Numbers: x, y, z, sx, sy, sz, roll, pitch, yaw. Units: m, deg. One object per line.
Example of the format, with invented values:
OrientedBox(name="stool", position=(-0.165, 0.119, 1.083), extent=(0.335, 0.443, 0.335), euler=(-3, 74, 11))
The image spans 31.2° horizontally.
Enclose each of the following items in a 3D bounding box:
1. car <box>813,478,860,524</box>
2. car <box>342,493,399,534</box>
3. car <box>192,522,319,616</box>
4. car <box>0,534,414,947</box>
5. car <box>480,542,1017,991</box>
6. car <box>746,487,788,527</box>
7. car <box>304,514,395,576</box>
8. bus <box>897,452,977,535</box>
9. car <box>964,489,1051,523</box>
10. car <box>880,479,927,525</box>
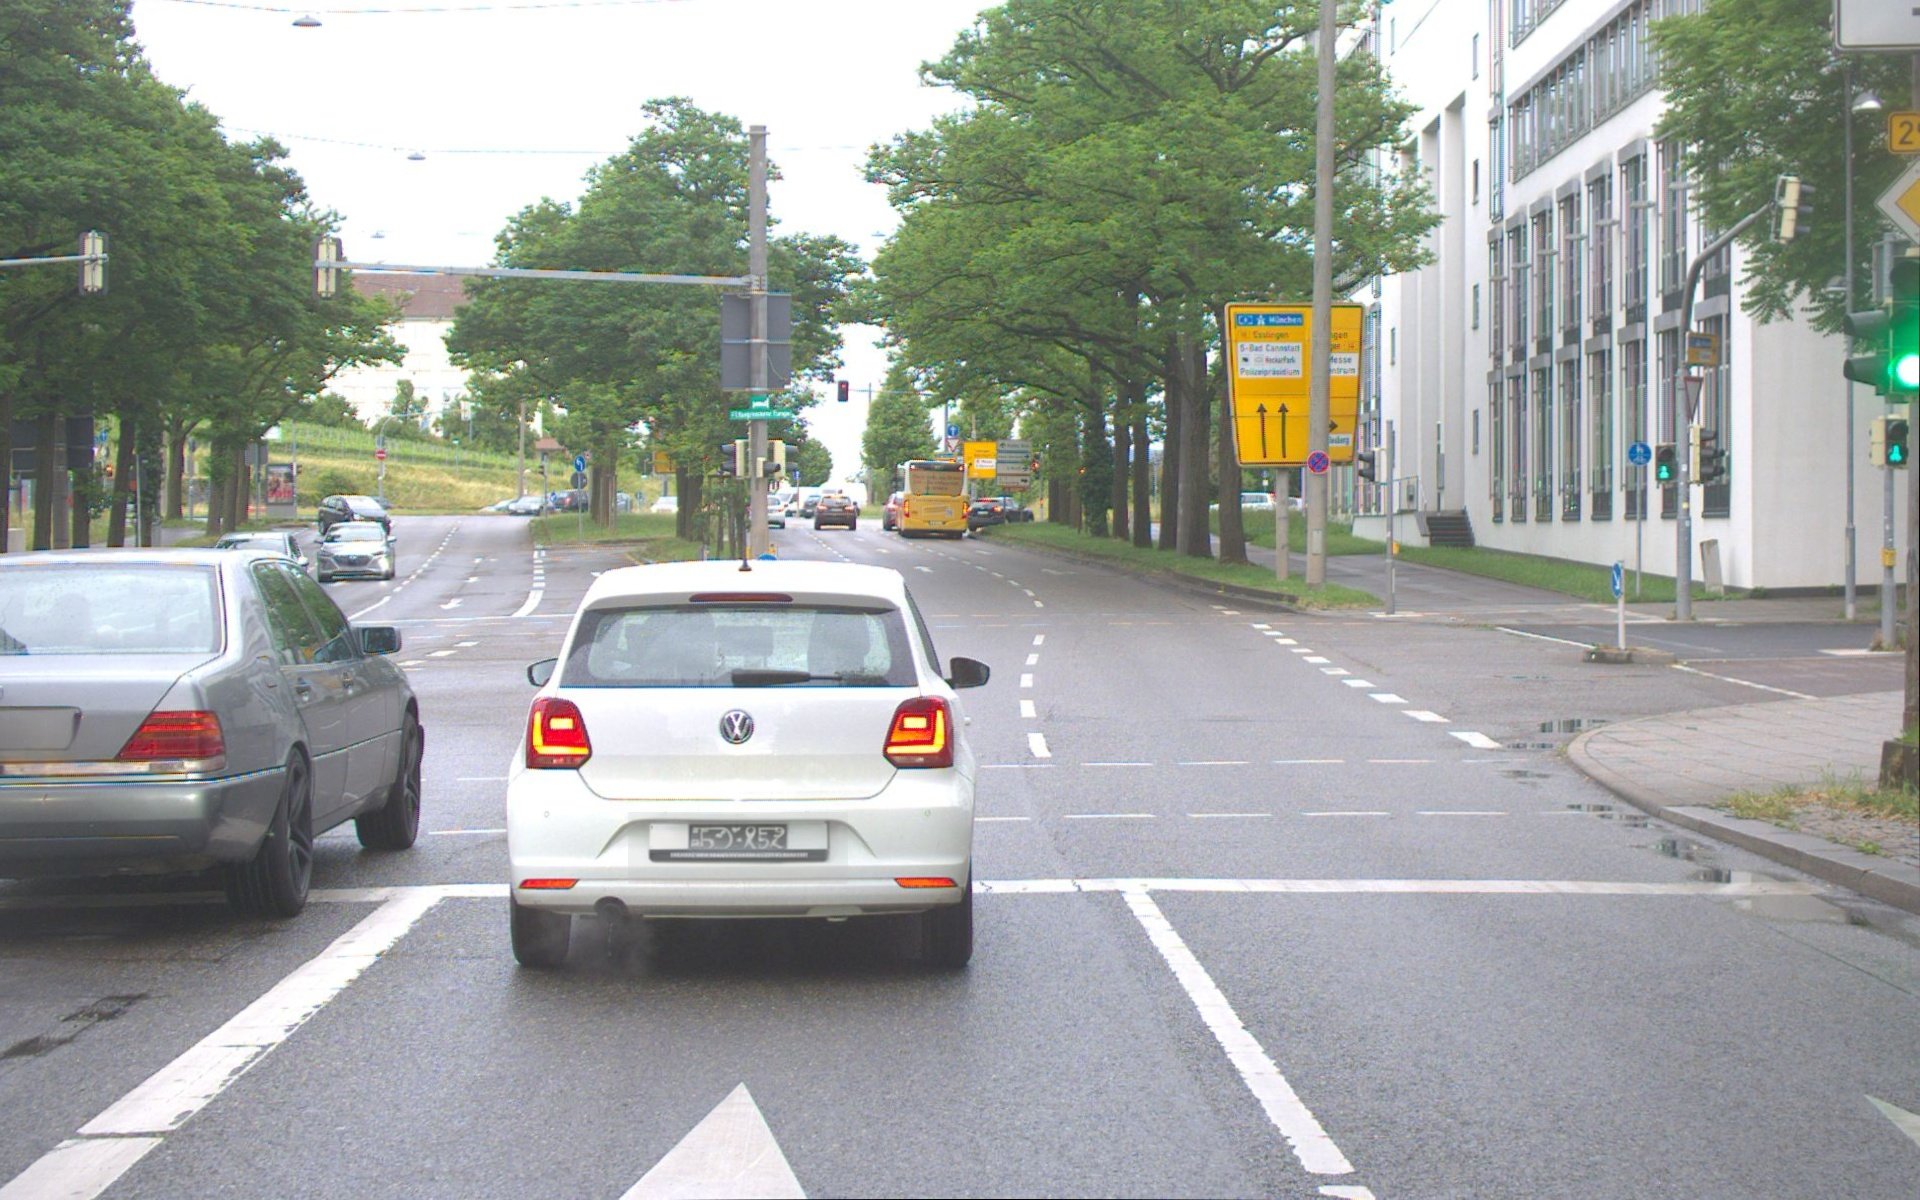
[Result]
OrientedBox(name="car", position=(-5.485, -4.386, 152.437), extent=(1.993, 2.007, 4.001), euler=(0, 1, -3))
OrientedBox(name="car", position=(-24.711, -3.643, 144.278), extent=(1.993, 1.610, 5.122), euler=(-2, 2, -6))
OrientedBox(name="car", position=(-12.301, -0.567, 60.180), extent=(1.750, 1.515, 3.818), euler=(-1, 2, -6))
OrientedBox(name="car", position=(-3.588, 0.489, 14.691), extent=(1.847, 1.505, 4.048), euler=(-1, 1, 0))
OrientedBox(name="car", position=(-0.766, 0.528, 13.554), extent=(1.794, 1.497, 4.000), euler=(0, 1, -2))
OrientedBox(name="car", position=(-8.655, -4.168, 153.956), extent=(1.794, 1.735, 4.001), euler=(-1, 1, -4))
OrientedBox(name="car", position=(-15.283, -1.396, 86.252), extent=(1.814, 1.406, 4.657), euler=(-2, 2, -5))
OrientedBox(name="bus", position=(-1.011, -4.369, 140.016), extent=(2.828, 3.255, 10.002), euler=(0, 2, -3))
OrientedBox(name="car", position=(2.115, -4.155, 152.298), extent=(1.699, 1.510, 3.818), euler=(1, 1, 43))
OrientedBox(name="car", position=(-2.542, -4.375, 153.534), extent=(1.993, 2.007, 4.001), euler=(0, 1, -3))
